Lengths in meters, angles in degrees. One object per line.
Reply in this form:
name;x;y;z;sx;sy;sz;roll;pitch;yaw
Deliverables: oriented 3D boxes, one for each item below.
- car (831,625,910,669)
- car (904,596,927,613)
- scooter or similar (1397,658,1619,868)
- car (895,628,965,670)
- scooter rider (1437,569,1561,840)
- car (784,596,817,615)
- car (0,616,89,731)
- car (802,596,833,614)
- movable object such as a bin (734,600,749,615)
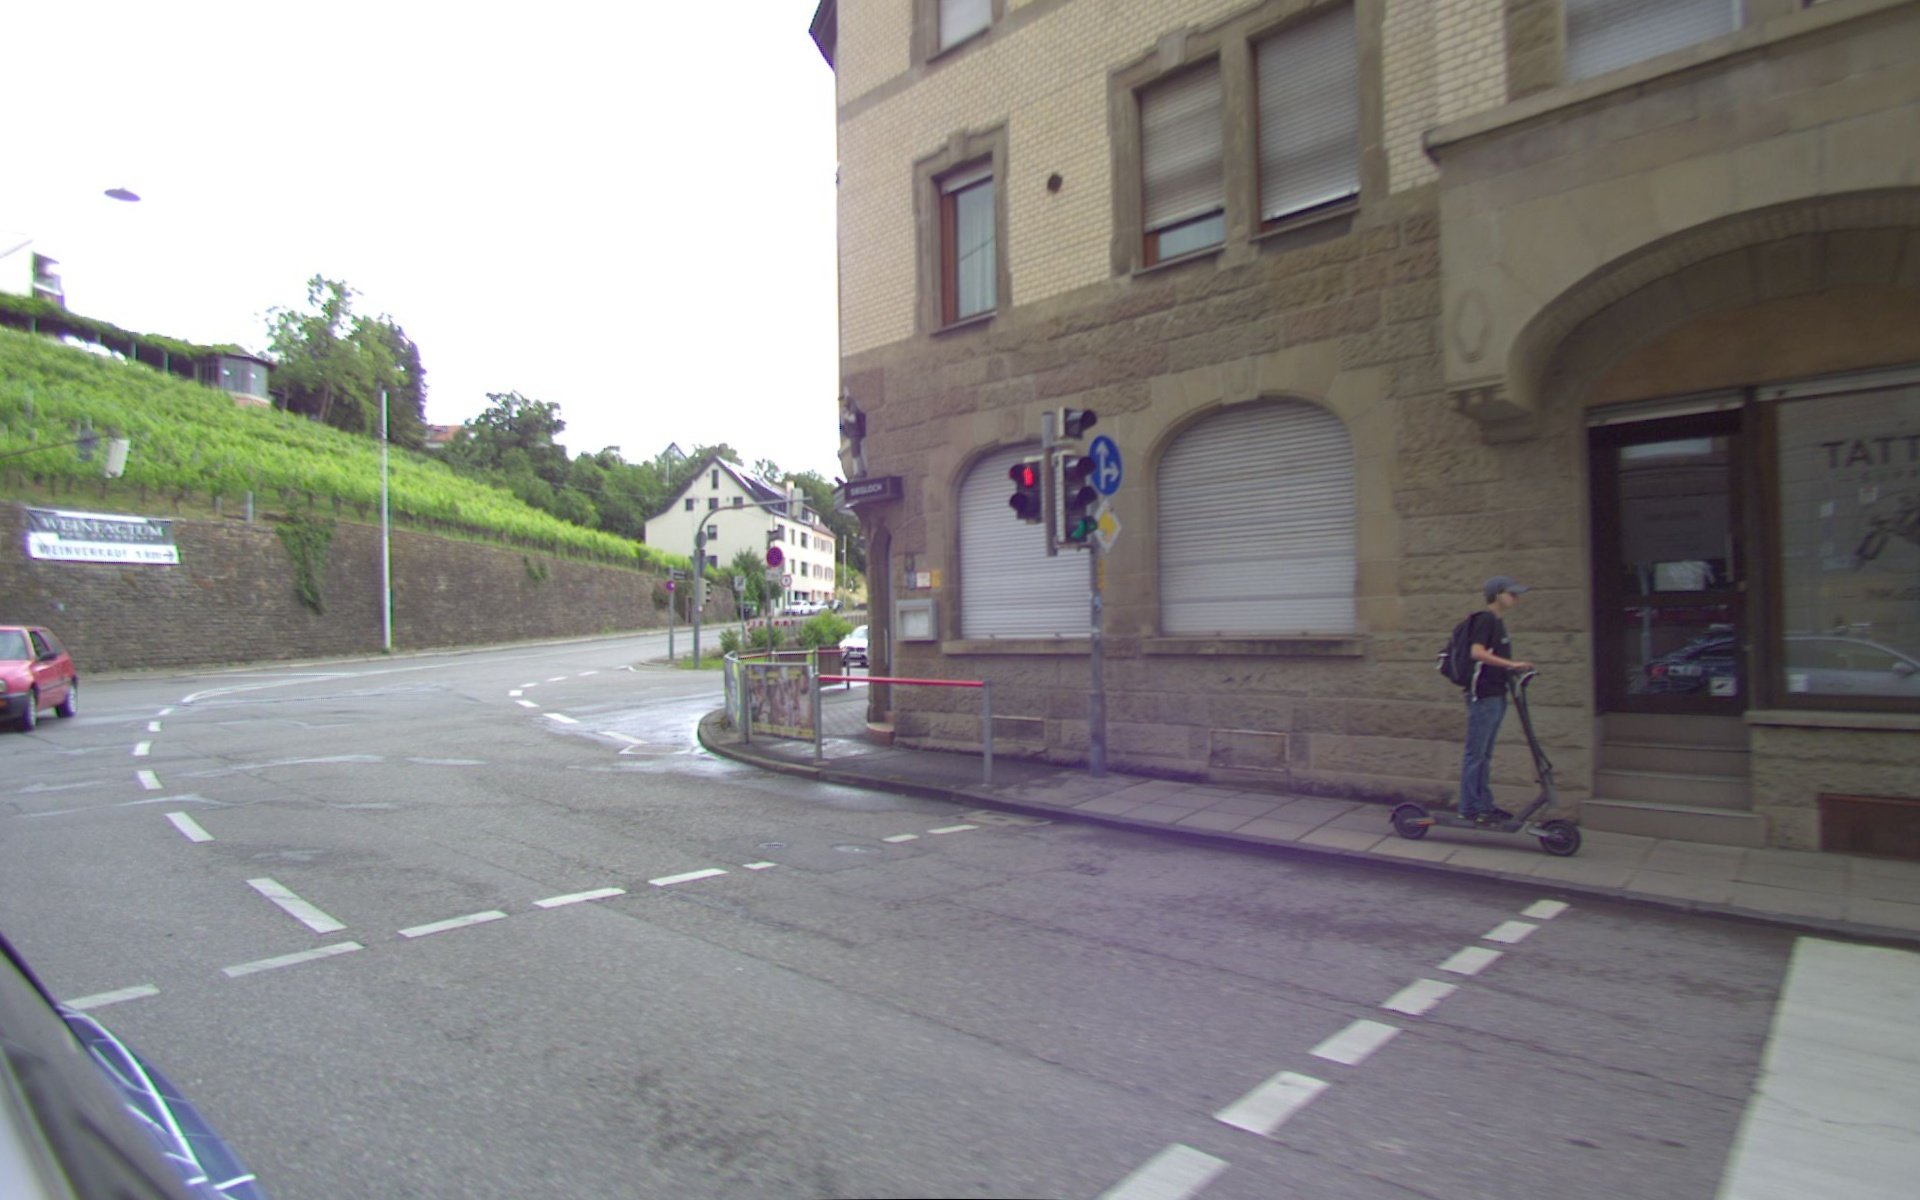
car;-3.543;1.864;40.929;1.816;1.525;4.403;-2;0;14
car;-4.358;0.466;99.977;1.655;1.479;3.635;1;-3;7
scooter or similar;3.667;1.039;6.824;1.227;1.251;0.374;-2;1;44
car;-1.128;1.881;40.233;1.749;1.420;4.381;0;0;13
scooter rider;3.638;0.671;6.829;0.577;1.718;0.482;-2;2;43
car;-14.863;0.470;94.719;1.781;1.586;4.043;-3;1;10
car;-13.688;0.974;14.087;1.619;1.449;4.012;-1;-1;-30
car;-13.998;0.450;99.756;1.714;1.586;4.236;-3;1;10
movable object such as a bin;-16.902;0.592;78.312;0.802;1.135;0.872;-2;0;10
